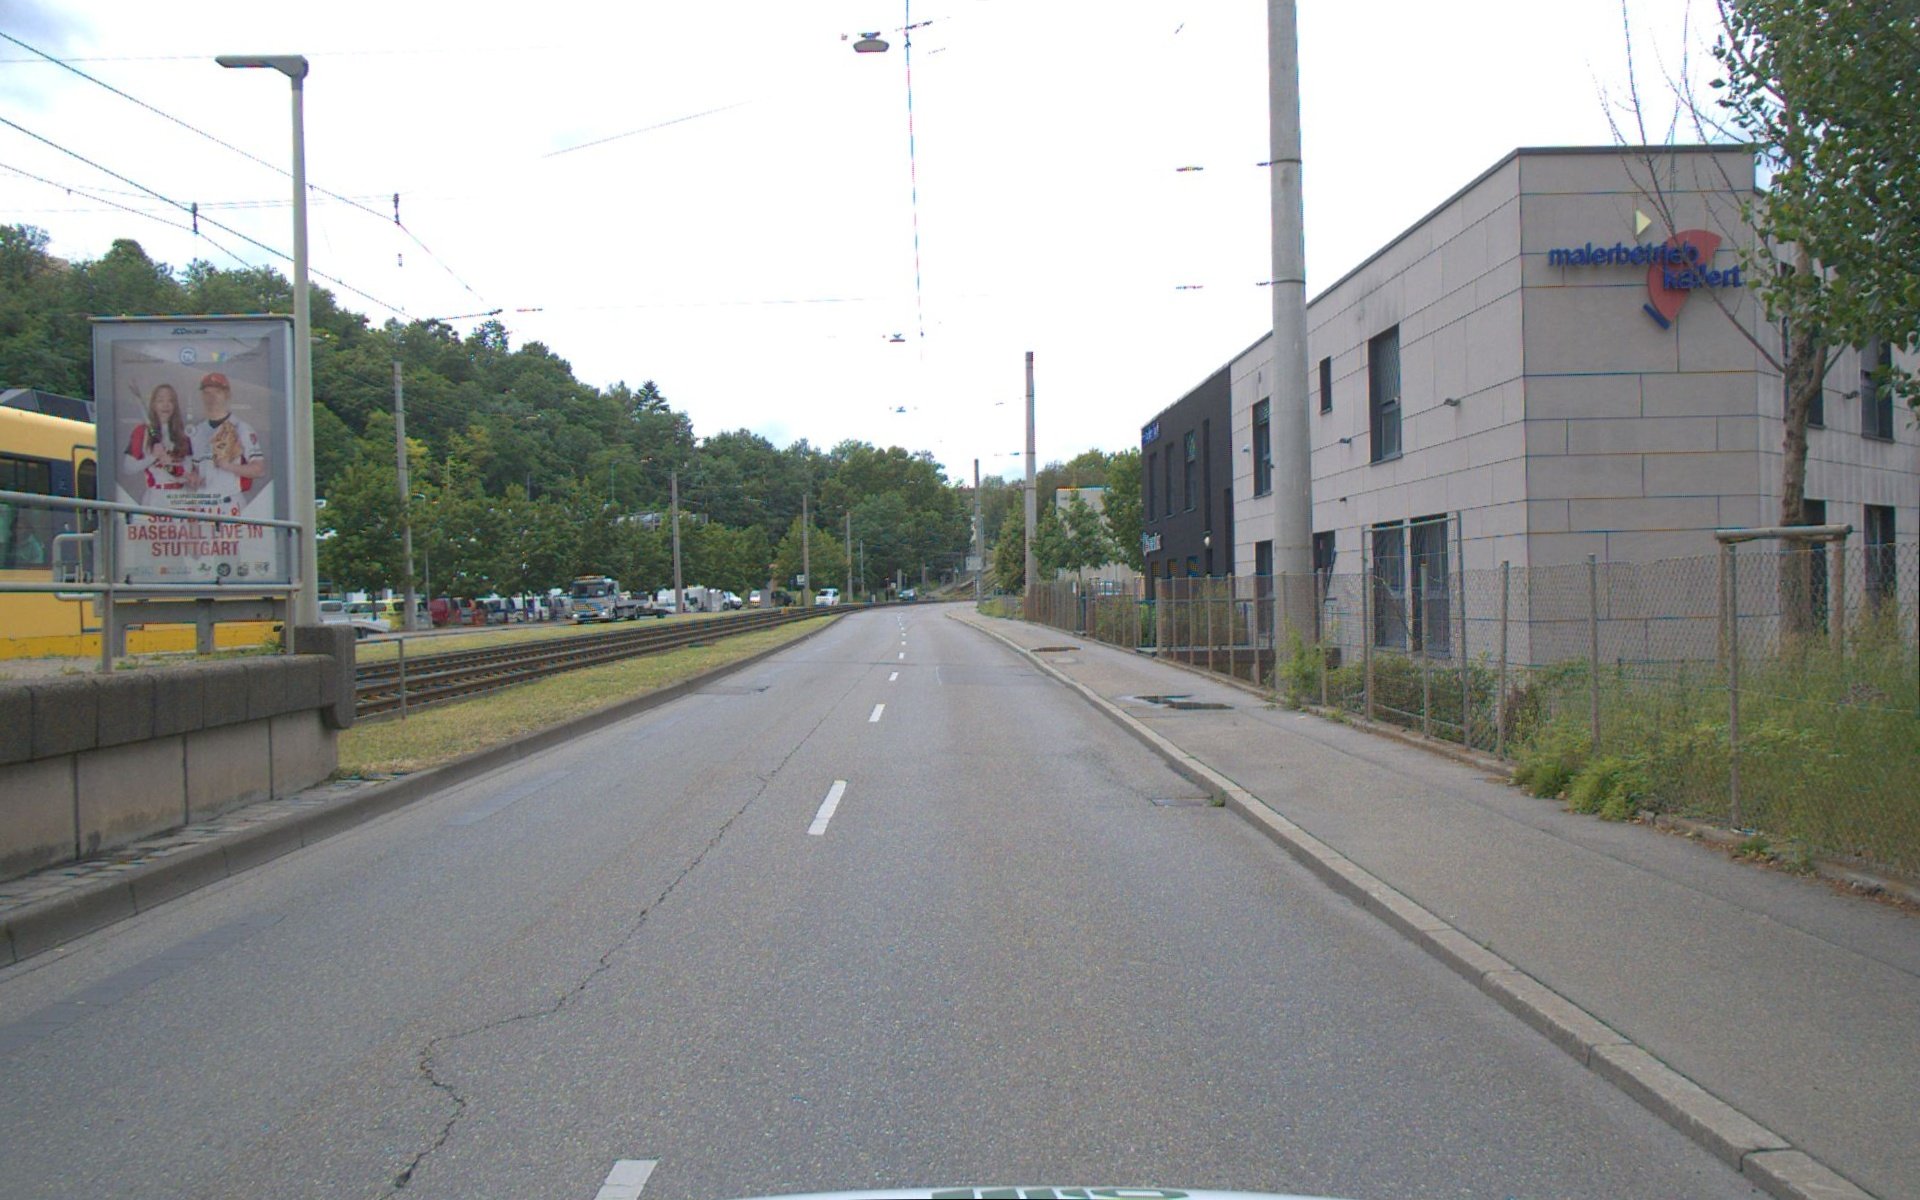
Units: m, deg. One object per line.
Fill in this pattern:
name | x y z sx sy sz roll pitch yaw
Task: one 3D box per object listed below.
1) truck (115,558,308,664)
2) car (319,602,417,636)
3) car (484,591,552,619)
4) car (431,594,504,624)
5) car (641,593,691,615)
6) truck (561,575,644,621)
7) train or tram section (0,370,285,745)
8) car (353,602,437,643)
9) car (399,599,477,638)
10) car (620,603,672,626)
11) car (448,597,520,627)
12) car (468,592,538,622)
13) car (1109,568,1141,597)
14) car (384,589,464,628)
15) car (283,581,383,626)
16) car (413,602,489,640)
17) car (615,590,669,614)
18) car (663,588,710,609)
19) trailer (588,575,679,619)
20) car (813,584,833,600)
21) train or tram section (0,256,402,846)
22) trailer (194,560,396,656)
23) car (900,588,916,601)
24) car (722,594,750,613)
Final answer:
truck | -23.355 0.300 52.050 2.824 3.042 6.911 -1 0 0
car | -31.591 1.023 88.348 4.501 1.602 2.000 -2 -3 0
car | -29.276 0.320 109.568 3.903 1.735 1.835 -2 1 5
car | -30.372 0.556 102.075 3.903 1.735 1.835 -2 0 5
car | -25.617 0.368 144.266 3.903 1.736 1.834 -2 -3 5
truck | -21.533 -0.149 99.955 2.822 2.634 6.916 -1 0 6
train or tram section | -10.868 -0.417 19.621 1.953 3.862 9.177 -1 0 0
car | -31.237 1.239 91.460 3.904 2.049 2.000 -2 -3 1
car | -30.676 1.102 97.238 3.904 2.049 2.000 -2 -3 1
car | -26.395 1.178 139.058 3.903 1.735 1.835 -2 1 5
car | -29.989 0.746 104.276 3.903 1.735 1.835 -2 1 5
car | -29.577 0.453 107.052 3.903 1.735 1.835 -2 0 5
car | 10.246 -1.092 102.713 1.789 1.735 3.809 -2 0 8
car | -30.622 0.488 94.548 3.904 2.049 2.000 -2 -3 1
car | -31.330 0.198 82.688 4.500 1.932 2.000 -3 -4 21
car | -30.637 1.283 99.609 3.904 2.049 2.000 -2 -3 1
car | -25.694 0.178 133.646 3.903 1.736 1.834 -2 -3 5
car | -25.125 -0.140 151.864 3.903 1.736 1.834 -2 -3 5
trailer | -20.855 -0.240 106.380 2.831 2.628 10.002 -1 0 6
car | -15.080 -0.849 182.030 1.953 1.668 3.999 -1 0 -1
train or tram section | -8.243 -0.389 15.059 2.911 4.136 10.195 -1 1 -1
trailer | -23.368 0.209 58.946 2.833 3.034 10.790 -1 0 0
car | -6.676 -0.711 211.879 1.953 1.668 3.999 -1 0 -1
car | -23.602 0.337 174.297 1.789 1.736 4.145 -2 -3 9
